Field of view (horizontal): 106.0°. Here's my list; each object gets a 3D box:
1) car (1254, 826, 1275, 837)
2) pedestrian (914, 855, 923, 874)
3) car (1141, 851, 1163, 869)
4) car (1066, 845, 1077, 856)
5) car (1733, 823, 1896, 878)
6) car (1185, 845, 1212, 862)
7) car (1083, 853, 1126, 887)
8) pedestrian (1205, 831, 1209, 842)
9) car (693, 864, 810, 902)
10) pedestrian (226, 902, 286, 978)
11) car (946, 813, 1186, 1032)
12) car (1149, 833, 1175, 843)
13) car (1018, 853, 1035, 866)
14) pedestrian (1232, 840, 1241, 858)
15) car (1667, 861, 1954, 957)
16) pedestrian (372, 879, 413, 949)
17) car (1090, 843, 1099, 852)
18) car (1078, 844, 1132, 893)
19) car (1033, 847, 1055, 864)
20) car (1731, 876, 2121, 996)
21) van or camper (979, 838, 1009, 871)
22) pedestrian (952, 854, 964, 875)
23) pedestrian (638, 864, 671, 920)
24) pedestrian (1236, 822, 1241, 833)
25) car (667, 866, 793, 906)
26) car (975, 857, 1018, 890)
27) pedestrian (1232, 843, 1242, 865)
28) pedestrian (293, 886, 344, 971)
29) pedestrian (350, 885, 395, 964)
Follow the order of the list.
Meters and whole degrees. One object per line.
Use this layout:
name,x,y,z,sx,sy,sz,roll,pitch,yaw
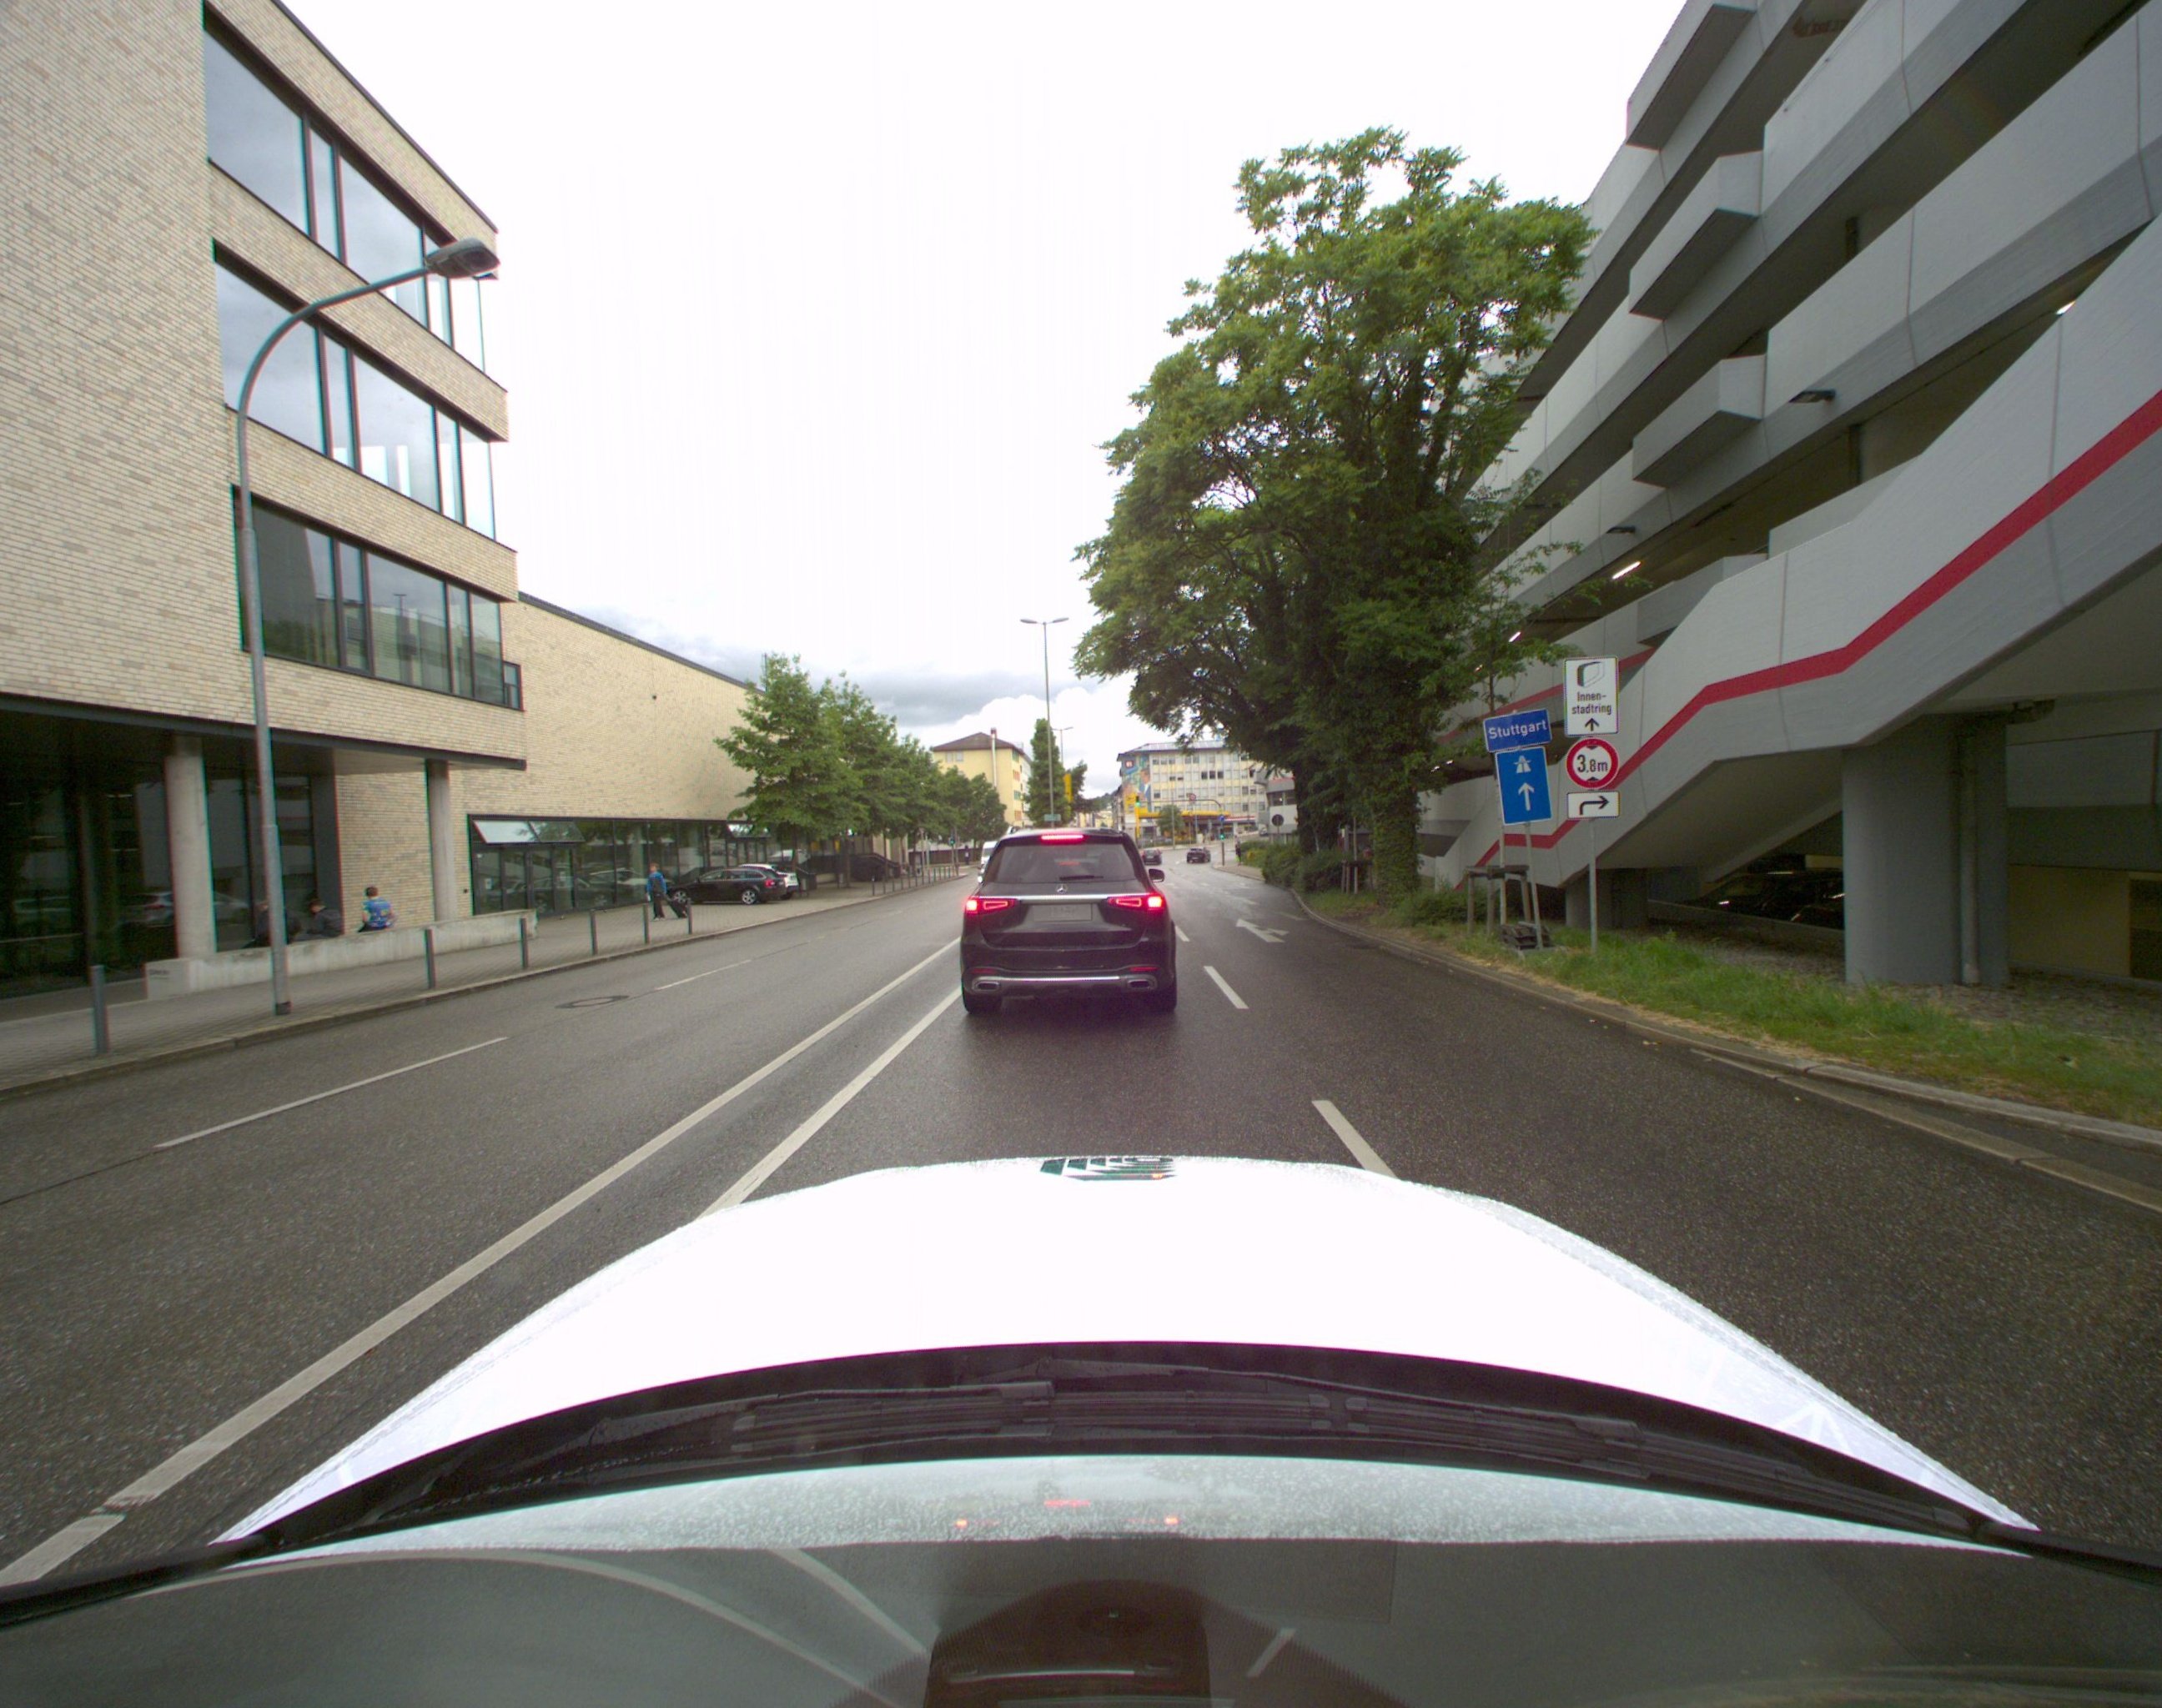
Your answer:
car,31.136,-3.815,137.907,1.974,1.705,4.026,-2,1,35
pedestrian,-13.822,0.900,69.413,0.641,1.665,1.017,0,-1,-4
car,6.375,0.514,72.590,1.786,1.525,4.065,0,1,7
car,-1.597,-0.550,144.148,1.862,1.839,3.819,0,-1,0
car,26.209,-0.126,29.245,3.958,1.783,1.823,-2,0,14
car,11.045,-0.031,76.551,1.931,1.486,4.017,-1,-1,17
car,1.105,0.708,38.111,1.900,1.501,4.001,0,-1,2
pedestrian,18.572,-2.585,119.892,0.570,1.697,0.631,0,-1,3
car,-14.107,1.208,35.024,4.158,1.547,2.002,0,-1,3
pedestrian,-13.588,1.409,13.420,0.546,1.215,0.422,0,-1,4
car,-0.067,0.585,8.772,1.986,1.800,4.001,0,-1,2
car,12.767,-2.516,128.495,1.747,1.376,3.952,-4,1,-42
car,-6.546,0.633,97.866,1.792,1.495,3.802,0,-1,-1
pedestrian,14.518,-0.455,76.148,0.716,1.690,0.455,0,-1,-5
car,13.673,1.004,15.489,3.713,1.540,1.815,-1,3,7
pedestrian,-14.934,1.297,17.661,0.440,1.475,0.528,0,-1,-3
car,3.009,-1.537,183.829,1.985,2.014,4.003,0,-1,3
car,0.948,0.545,32.351,1.986,1.800,4.001,0,-1,2
car,-3.579,0.157,79.287,1.877,1.498,4.560,-4,0,-1
car,12.938,1.233,12.726,3.966,1.624,1.842,-1,0,6
van or camper,-7.403,0.032,69.984,2.097,2.582,5.901,-4,0,-3
pedestrian,-10.301,0.884,68.182,0.948,1.704,0.709,0,-1,-16
pedestrian,-13.129,1.162,25.072,0.632,1.714,0.705,0,-1,4
pedestrian,26.399,-4.476,136.385,0.521,1.727,0.693,-2,1,28
car,-14.010,1.256,32.717,4.169,1.495,1.997,0,-1,-5
car,-4.301,0.970,42.043,1.735,1.470,3.882,-4,0,0
pedestrian,12.507,-0.009,65.160,0.639,1.710,0.474,-2,-1,38
pedestrian,-13.532,1.307,14.464,0.448,1.475,0.463,0,-1,-4
pedestrian,-13.594,1.345,15.627,0.448,1.475,0.463,0,-1,-4
